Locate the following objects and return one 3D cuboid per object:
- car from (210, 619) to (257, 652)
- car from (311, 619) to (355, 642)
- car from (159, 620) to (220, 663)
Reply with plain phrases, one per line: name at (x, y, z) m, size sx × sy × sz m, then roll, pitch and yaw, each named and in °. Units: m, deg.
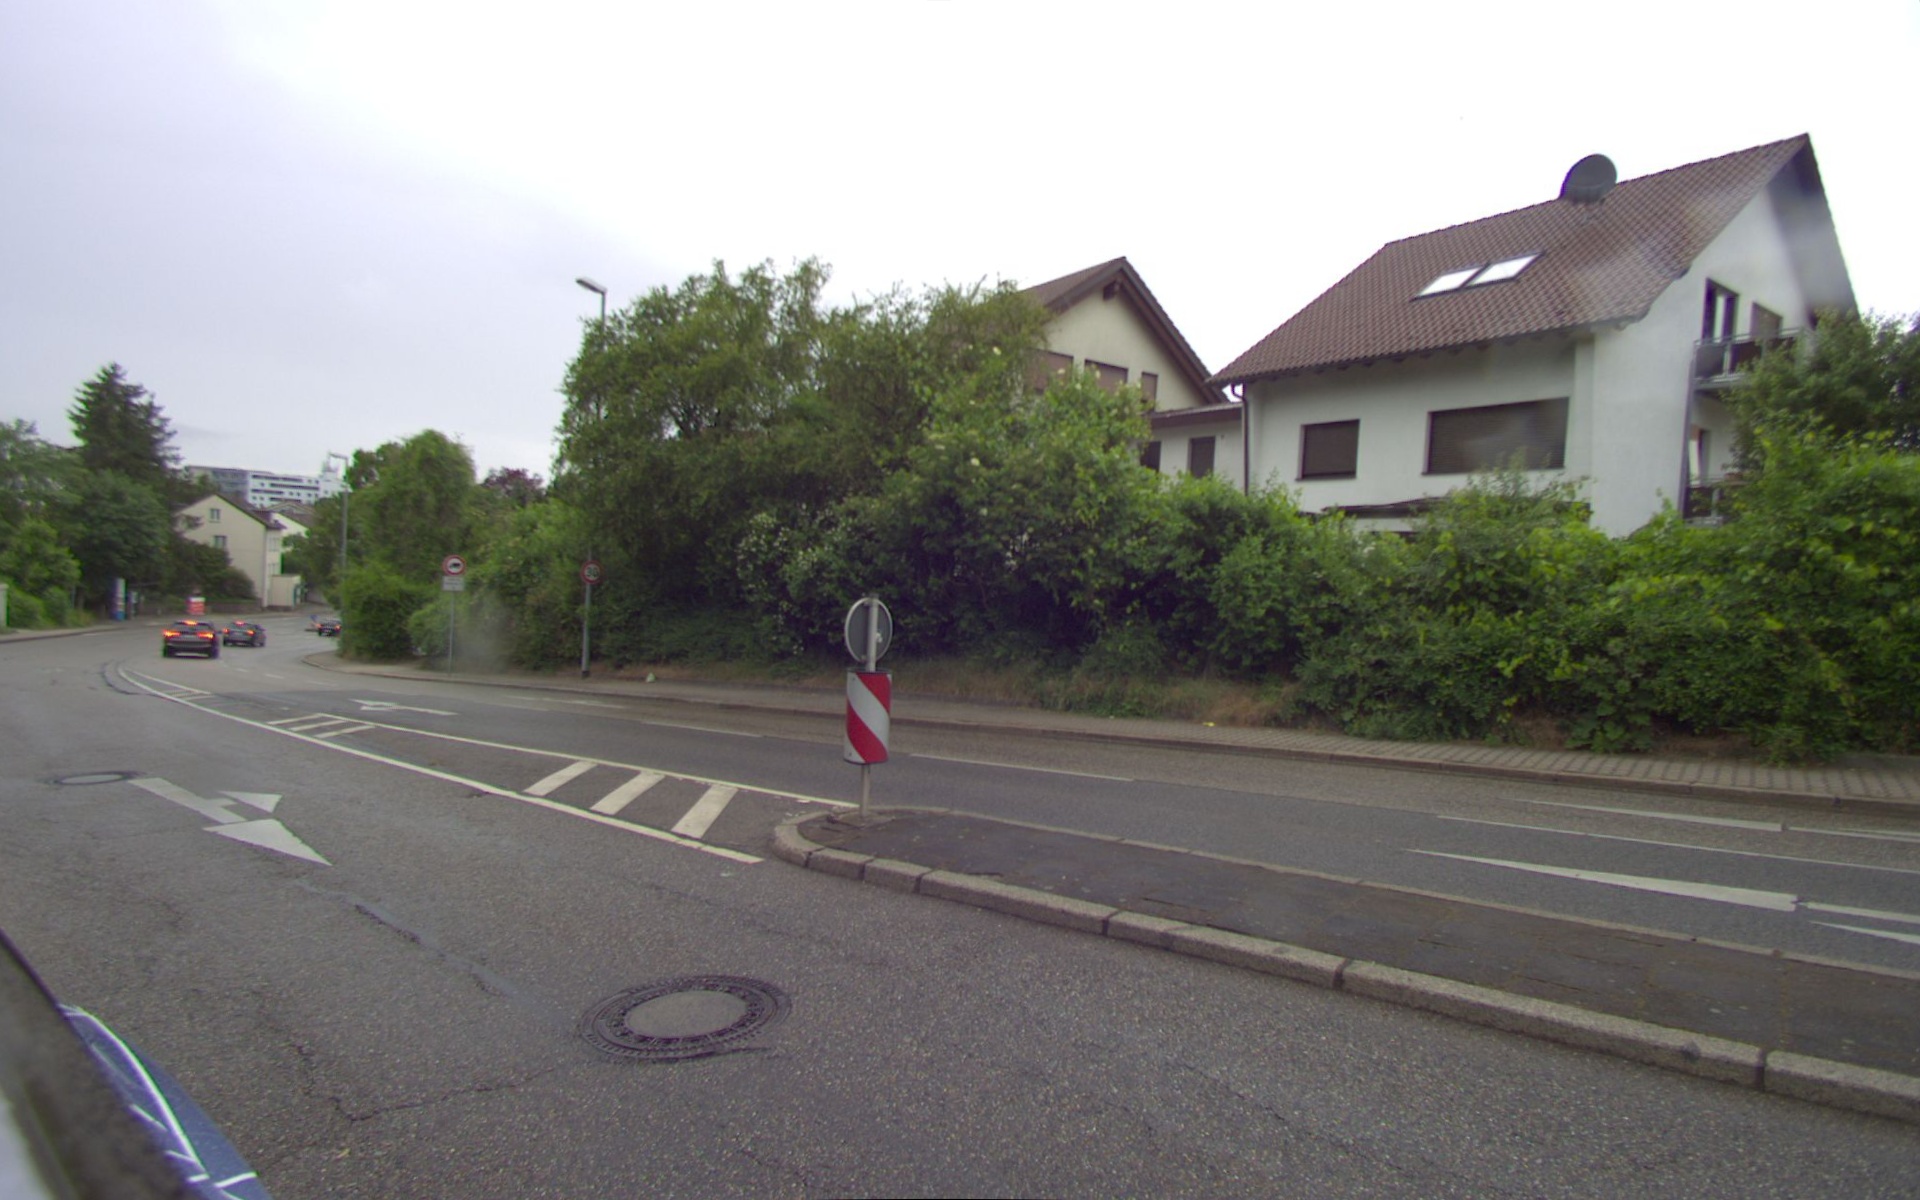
car at (-46.665, 2.295, 65.084) m, size 2.097 × 2.029 × 4.098 m, roll 2°, pitch -3°, yaw -31°
car at (-53.339, 2.589, 86.235) m, size 1.967 × 1.929 × 4.010 m, roll 1°, pitch -2°, yaw -13°
car at (-36.240, 1.957, 47.698) m, size 1.929 × 1.860 × 4.011 m, roll 4°, pitch -4°, yaw -33°
